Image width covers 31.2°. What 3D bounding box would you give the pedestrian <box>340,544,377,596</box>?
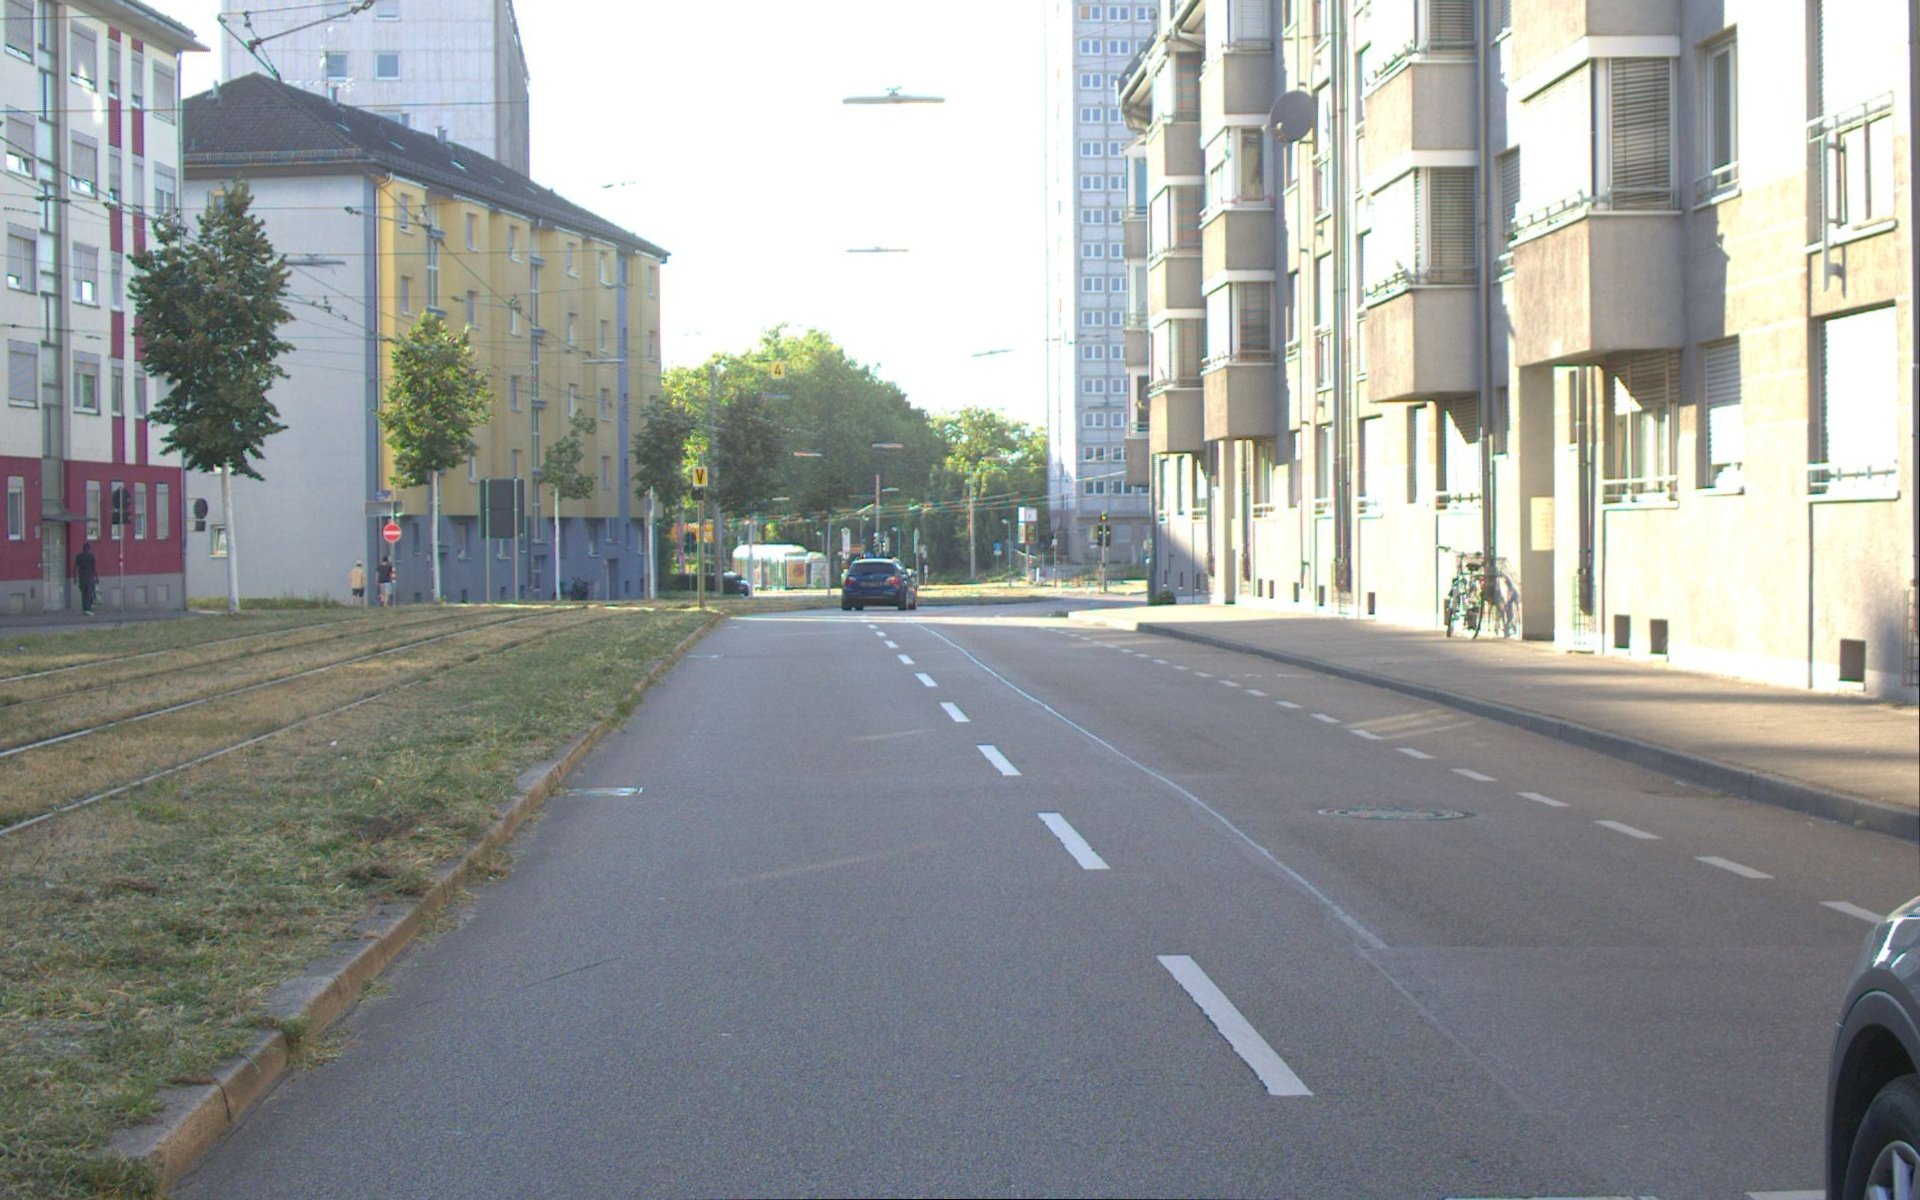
[{"bbox_3d":[-19.729,-0.983,112.713,0.962,1.688,1.011,1,0,3],"label":"pedestrian"}]

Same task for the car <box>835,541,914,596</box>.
[{"bbox_3d":[-2.336,-0.874,94.801,1.926,1.451,4.327,1,0,2],"label":"car"}]

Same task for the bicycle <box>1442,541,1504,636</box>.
[{"bbox_3d":[6.057,-0.139,40.648,0.383,1.092,1.504,-1,1,-4],"label":"bicycle"}]

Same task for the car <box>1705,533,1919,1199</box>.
[{"bbox_3d":[2.306,0.704,4.077,1.697,1.547,4.226,1,0,-3],"label":"car"}]

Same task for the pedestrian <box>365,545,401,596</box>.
[{"bbox_3d":[-18.935,-0.963,112.813,0.962,1.664,1.011,1,0,3],"label":"pedestrian"}]

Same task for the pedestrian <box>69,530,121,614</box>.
[{"bbox_3d":[-21.295,-0.687,84.630,1.005,2.028,0.886,1,0,3],"label":"pedestrian"}]
